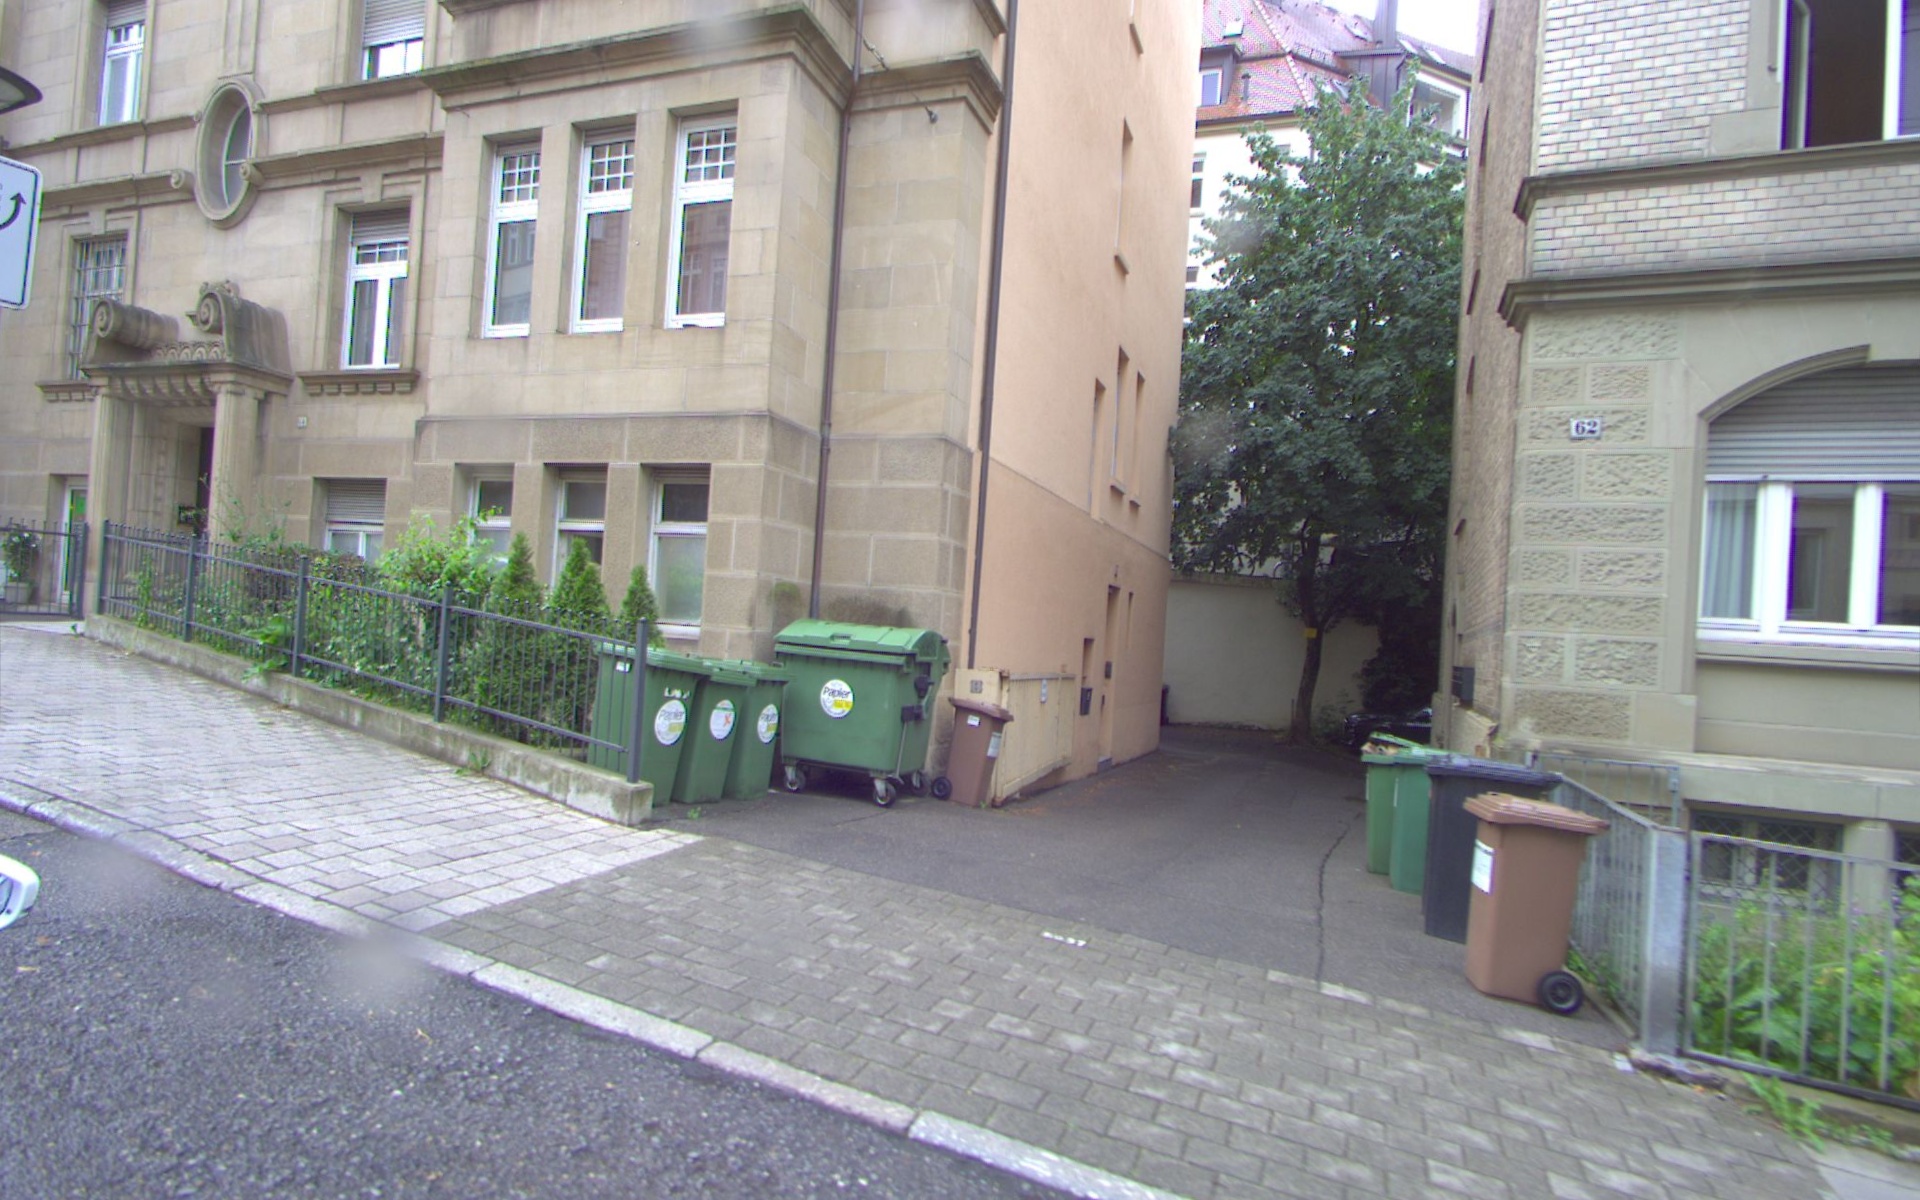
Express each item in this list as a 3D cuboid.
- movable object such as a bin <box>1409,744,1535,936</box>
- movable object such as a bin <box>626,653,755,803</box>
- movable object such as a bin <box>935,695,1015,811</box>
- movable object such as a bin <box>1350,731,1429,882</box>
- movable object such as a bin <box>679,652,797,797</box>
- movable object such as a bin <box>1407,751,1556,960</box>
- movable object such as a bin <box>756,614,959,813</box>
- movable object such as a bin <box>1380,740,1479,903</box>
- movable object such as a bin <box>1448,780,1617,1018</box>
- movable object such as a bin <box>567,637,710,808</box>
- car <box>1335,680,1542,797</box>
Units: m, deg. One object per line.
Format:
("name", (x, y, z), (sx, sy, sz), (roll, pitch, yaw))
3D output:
("movable object such as a bin", (3.286, 1.514, 6.498), (0.598, 1.072, 0.501), (6, -3, 24))
("movable object such as a bin", (-1.963, 0.929, 7.368), (0.593, 0.978, 0.540), (6, -4, 20))
("movable object such as a bin", (0.142, 1.365, 9.044), (0.510, 0.952, 0.395), (6, -4, 20))
("movable object such as a bin", (3.498, 1.656, 8.204), (0.469, 1.113, 0.521), (6, -3, 23))
("movable object such as a bin", (-1.752, 0.983, 7.977), (0.593, 1.037, 0.540), (6, -4, 20))
("movable object such as a bin", (3.063, 1.457, 5.914), (0.653, 1.041, 0.529), (6, -4, 30))
("movable object such as a bin", (-0.846, 0.947, 8.548), (1.256, 1.447, 0.976), (6, -4, 20))
("movable object such as a bin", (3.473, 1.614, 7.471), (0.545, 1.072, 0.498), (6, -3, 24))
("movable object such as a bin", (2.713, 1.399, 4.811), (0.527, 0.932, 0.427), (7, 2, 20))
("movable object such as a bin", (-2.168, 0.823, 6.826), (0.593, 1.037, 0.540), (6, -4, 20))
("car", (10.894, 3.077, 23.045), (3.930, 1.530, 1.796), (13, 5, 28))
